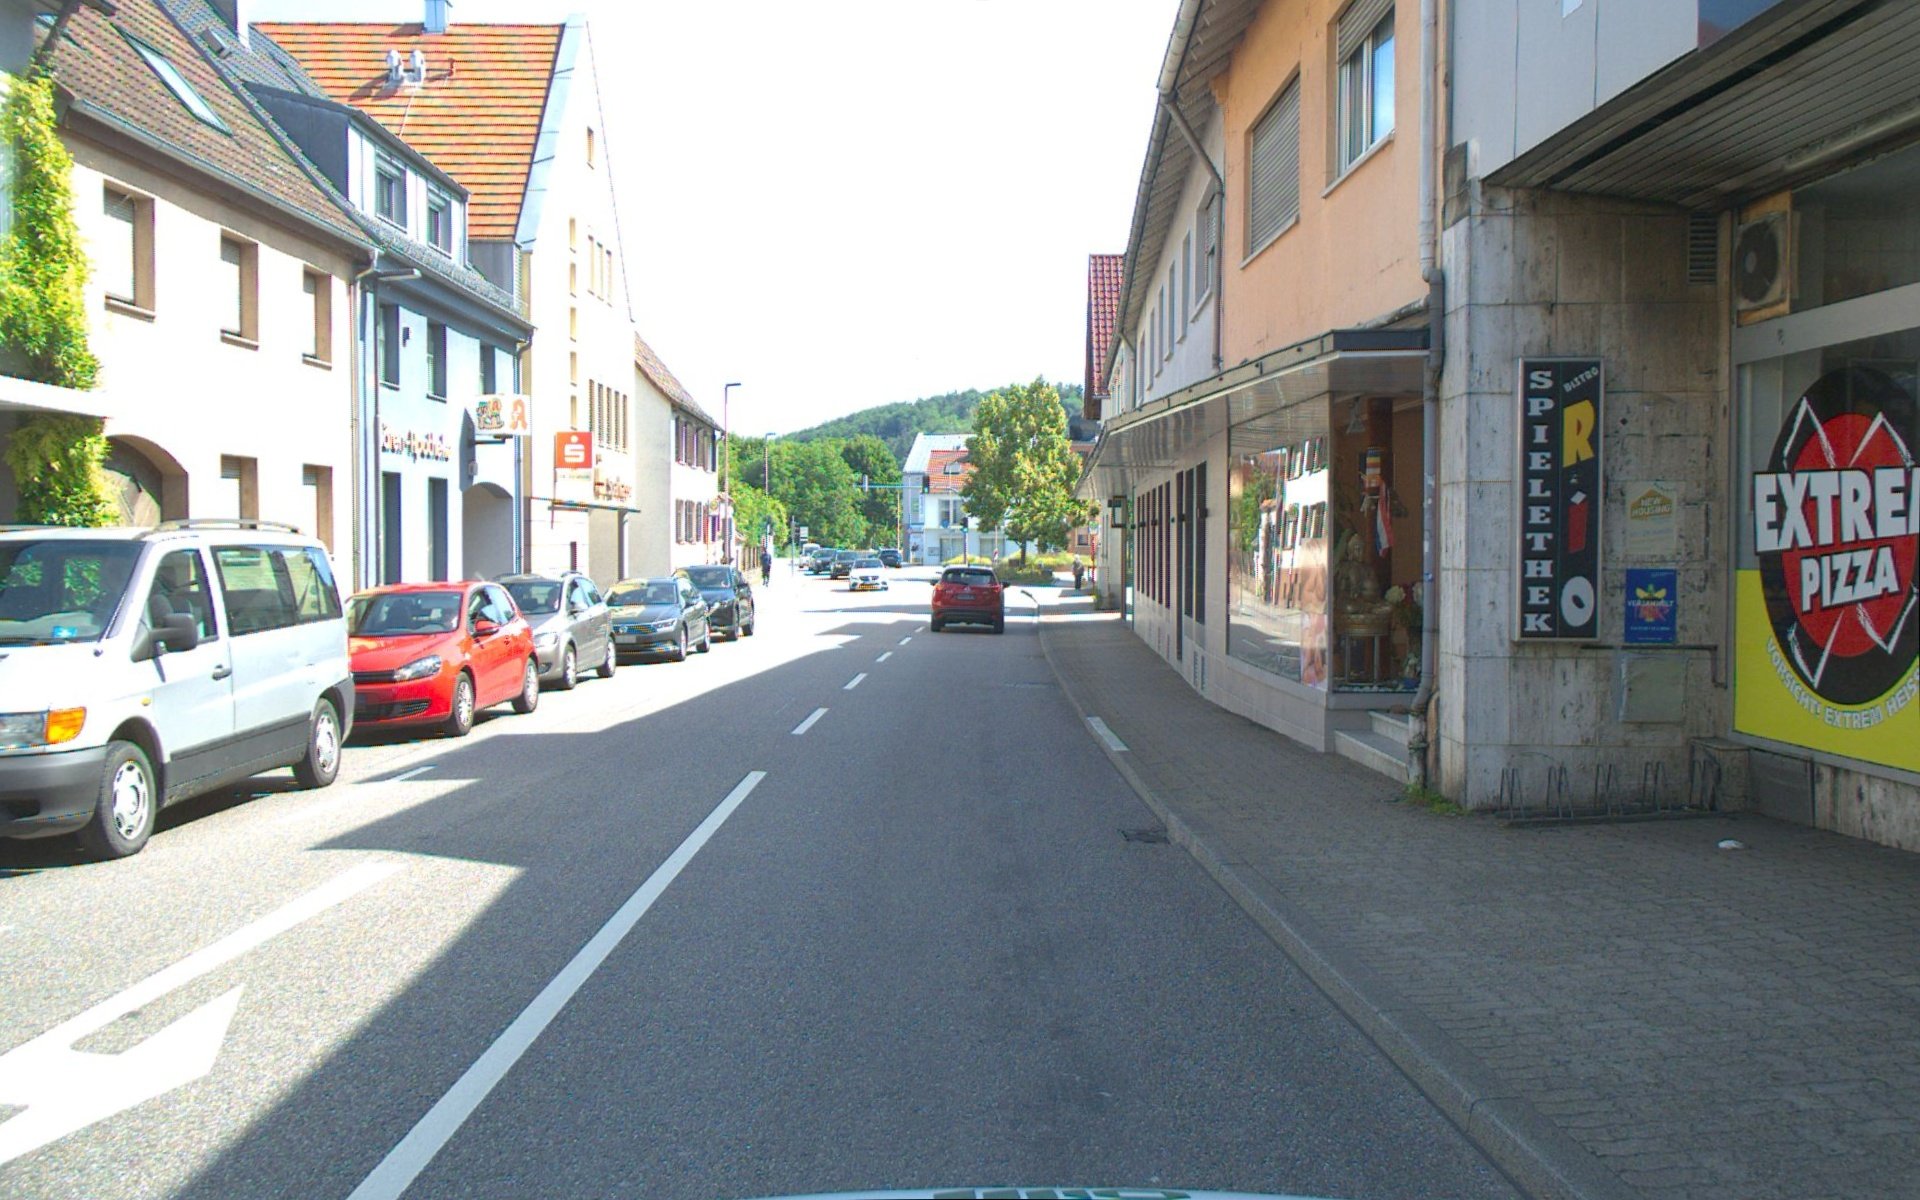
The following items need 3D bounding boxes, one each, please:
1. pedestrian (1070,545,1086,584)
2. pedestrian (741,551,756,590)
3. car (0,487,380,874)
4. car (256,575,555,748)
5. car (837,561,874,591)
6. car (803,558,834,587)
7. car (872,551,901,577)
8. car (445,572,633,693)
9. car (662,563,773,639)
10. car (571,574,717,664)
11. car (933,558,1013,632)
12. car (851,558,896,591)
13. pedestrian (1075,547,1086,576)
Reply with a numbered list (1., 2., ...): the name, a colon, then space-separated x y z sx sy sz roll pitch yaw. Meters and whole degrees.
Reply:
1. pedestrian: 5.356 -1.628 75.089 0.630 1.737 0.699 0 -1 -5
2. pedestrian: -10.111 -1.399 78.982 0.652 1.856 0.798 0 -1 -5
3. car: -5.404 0.388 10.522 1.845 1.923 4.551 -2 1 -1
4. car: -5.514 0.529 17.005 1.723 1.518 4.076 -1 1 -1
5. car: -6.140 -1.419 97.307 1.801 1.559 4.254 0 3 1
6. car: -9.288 -1.785 108.925 1.738 1.816 3.838 -1 -1 -1
7. car: -5.600 -2.744 126.554 1.892 1.825 3.956 -1 -1 1
8. car: -5.909 0.391 23.662 1.595 1.546 4.020 -1 1 0
9. car: -5.498 -0.015 38.069 1.829 1.617 4.518 -1 1 0
10. car: -5.642 0.279 30.068 1.752 1.476 4.424 -1 1 0
11. car: 0.381 -0.163 41.799 1.820 1.744 4.424 1 1 2
12. car: -4.073 -1.200 77.561 1.948 1.469 5.096 -1 1 -5
13. pedestrian: 7.912 -2.537 108.771 0.630 1.912 0.652 0 -1 -5
